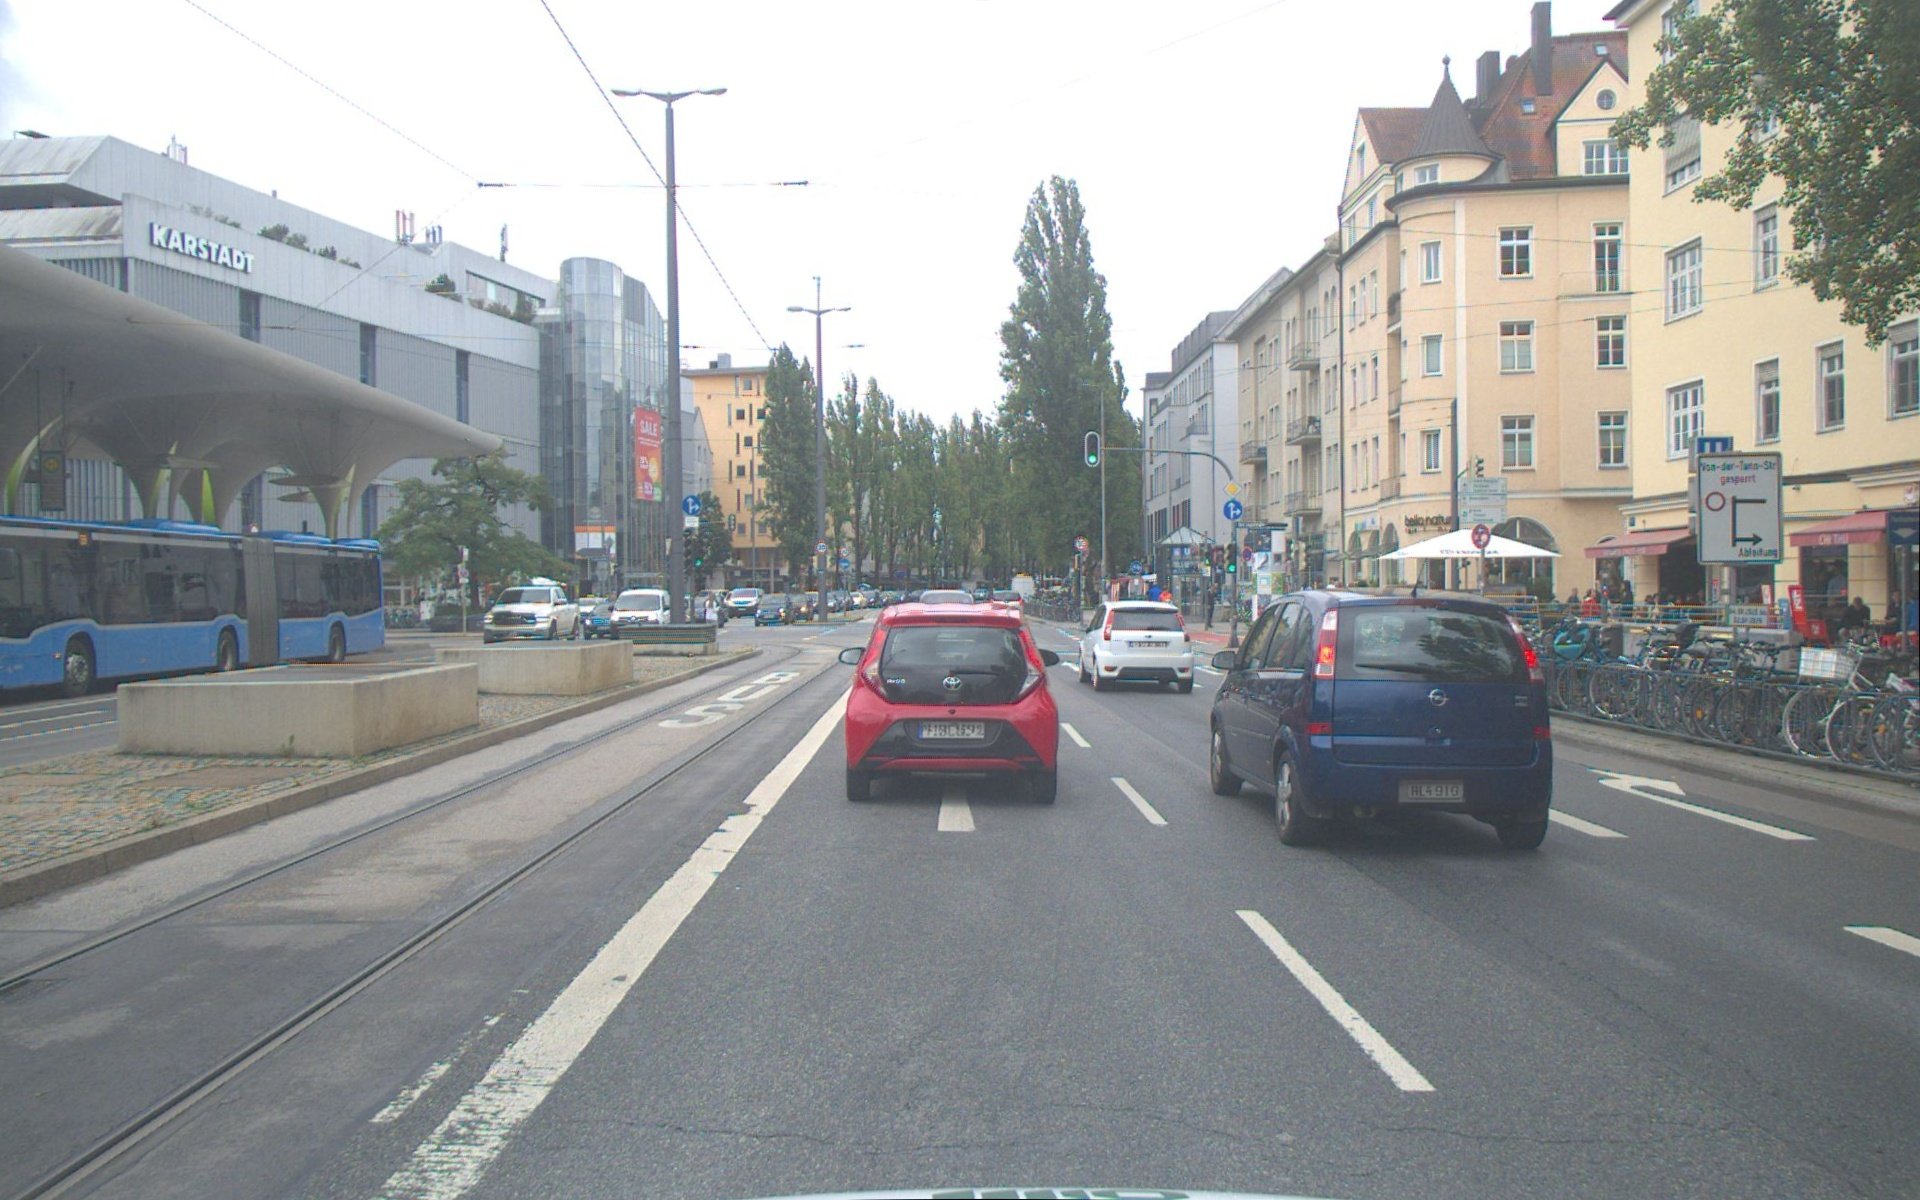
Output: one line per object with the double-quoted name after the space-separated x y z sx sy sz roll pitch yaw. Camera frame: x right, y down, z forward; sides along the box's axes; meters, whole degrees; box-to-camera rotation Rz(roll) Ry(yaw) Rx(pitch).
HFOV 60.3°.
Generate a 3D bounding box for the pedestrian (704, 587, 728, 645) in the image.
-7.008 0.464 47.507 0.513 1.646 0.461 -1 0 43 "pedestrian"

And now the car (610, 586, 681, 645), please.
-10.719 0.510 56.615 1.750 1.887 4.216 -2 0 -3 "car"

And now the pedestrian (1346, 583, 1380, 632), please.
13.044 0.237 53.499 0.717 1.567 0.887 -1 0 -15 "pedestrian"

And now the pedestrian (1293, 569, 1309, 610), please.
14.421 -0.455 69.982 0.554 1.699 0.562 0 3 22 "pedestrian"

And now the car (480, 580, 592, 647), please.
-13.103 0.371 51.544 2.131 1.920 6.153 -1 0 -2 "car"

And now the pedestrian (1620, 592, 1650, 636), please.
18.903 0.381 46.323 0.504 1.202 0.703 -1 0 -2 "pedestrian"

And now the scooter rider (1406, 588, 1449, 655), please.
9.923 0.453 35.116 0.686 1.413 0.643 -1 0 -2 "scooter rider"

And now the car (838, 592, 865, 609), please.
-9.263 0.026 141.281 1.728 1.446 4.641 -1 0 3 "car"

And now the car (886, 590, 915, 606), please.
-5.826 -0.208 162.844 1.951 1.561 4.591 -1 0 9 "car"

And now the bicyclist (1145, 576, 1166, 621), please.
8.412 -0.078 71.198 0.747 1.902 1.133 -1 0 0 "bicyclist"

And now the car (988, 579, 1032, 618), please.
2.442 -0.079 81.569 1.953 1.870 4.000 -1 0 -1 "car"

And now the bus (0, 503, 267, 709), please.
-15.739 0.109 29.404 2.607 3.060 10.511 -3 0 -2 "bus"

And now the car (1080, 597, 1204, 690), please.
3.033 0.687 28.166 1.665 1.451 3.496 -1 0 -1 "car"

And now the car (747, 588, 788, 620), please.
-9.195 0.180 78.951 1.519 1.471 3.527 -1 0 -13 "car"

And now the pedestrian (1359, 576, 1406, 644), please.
11.164 0.266 43.734 0.867 1.773 0.854 -1 0 -17 "pedestrian"

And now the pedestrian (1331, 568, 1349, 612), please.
15.853 -0.426 69.027 0.634 1.781 0.637 -1 3 8 "pedestrian"

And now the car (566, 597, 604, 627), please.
-21.091 0.661 93.068 1.959 1.562 4.400 -2 1 -13 "car"

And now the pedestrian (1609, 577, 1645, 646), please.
16.371 0.283 40.597 0.602 1.661 0.677 -1 0 -1 "pedestrian"

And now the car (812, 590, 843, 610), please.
-9.829 -0.001 123.022 1.952 1.436 4.168 0 0 1 "car"

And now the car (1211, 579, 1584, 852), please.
2.869 0.675 11.605 1.668 1.617 3.556 0 0 0 "car"

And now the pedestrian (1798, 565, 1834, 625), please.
20.261 -0.123 39.159 0.534 1.421 0.547 -1 0 -27 "pedestrian"

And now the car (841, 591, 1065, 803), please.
-0.036 0.681 13.341 1.572 1.487 3.130 1 0 0 "car"

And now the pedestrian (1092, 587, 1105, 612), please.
8.522 -0.039 101.842 0.780 1.548 0.812 -1 0 6 "pedestrian"

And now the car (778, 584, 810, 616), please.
-8.426 0.004 83.851 1.475 1.561 2.831 0 0 -9 "car"

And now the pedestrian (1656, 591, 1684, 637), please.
18.567 0.352 43.252 0.468 1.186 0.527 -1 0 -2 "pedestrian"

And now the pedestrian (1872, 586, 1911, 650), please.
19.385 0.379 34.422 0.485 1.312 0.552 -1 0 -1 "pedestrian"

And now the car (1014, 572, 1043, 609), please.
5.244 -0.755 127.753 2.063 2.766 4.804 -1 0 0 "car"

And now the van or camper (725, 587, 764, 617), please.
-13.863 0.086 106.618 1.889 1.857 5.439 -1 0 -2 "van or camper"

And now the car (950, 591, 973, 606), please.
0.189 -0.149 195.375 1.951 1.758 3.920 -1 0 13 "car"

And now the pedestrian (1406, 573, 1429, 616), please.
18.651 -0.226 67.448 0.670 1.714 0.743 1 4 39 "pedestrian"

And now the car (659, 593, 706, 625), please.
-12.917 0.395 77.192 1.644 1.420 4.231 -1 0 -3 "car"

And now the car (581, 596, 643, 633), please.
-14.060 0.550 67.053 1.639 1.402 4.612 -1 0 -2 "car"

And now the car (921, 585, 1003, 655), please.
0.016 0.469 41.773 1.953 1.646 3.999 -1 0 -1 "car"

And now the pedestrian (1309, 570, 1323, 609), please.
15.091 -0.442 70.099 0.548 1.637 0.568 -1 3 12 "pedestrian"

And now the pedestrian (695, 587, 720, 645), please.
-7.295 0.457 47.782 0.482 1.646 0.551 -1 0 -35 "pedestrian"

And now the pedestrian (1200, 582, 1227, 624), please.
10.530 0.124 68.693 0.820 1.720 0.816 -1 0 37 "pedestrian"

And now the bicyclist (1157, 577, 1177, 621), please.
8.146 -0.048 65.214 0.601 1.686 1.251 -1 0 0 "bicyclist"

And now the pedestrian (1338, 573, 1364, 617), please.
16.050 -0.224 67.909 0.914 1.786 1.066 -1 0 6 "pedestrian"

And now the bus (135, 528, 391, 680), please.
-15.896 0.045 38.398 2.606 3.060 7.513 -3 0 0 "bus"

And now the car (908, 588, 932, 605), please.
-4.179 -0.367 172.041 1.951 1.721 4.924 -1 0 5 "car"

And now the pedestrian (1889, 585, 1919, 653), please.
19.216 0.379 33.484 0.485 1.355 0.552 -1 0 -1 "pedestrian"

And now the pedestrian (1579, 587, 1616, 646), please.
15.870 0.409 41.204 0.662 1.447 0.616 -1 0 -1 "pedestrian"

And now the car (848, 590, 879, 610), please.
-8.687 -0.001 148.809 1.895 1.769 4.592 0 1 8 "car"

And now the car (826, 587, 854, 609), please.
-9.608 -0.167 132.580 1.707 1.699 4.734 -1 1 2 "car"

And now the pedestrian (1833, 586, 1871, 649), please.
18.553 0.359 34.412 0.485 1.312 0.552 -1 0 -1 "pedestrian"

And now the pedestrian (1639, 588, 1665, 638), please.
18.517 0.344 44.263 0.468 1.322 0.527 -1 0 -2 "pedestrian"

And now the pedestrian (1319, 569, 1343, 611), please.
15.665 -0.426 69.835 0.637 1.734 0.726 -3 4 -30 "pedestrian"
